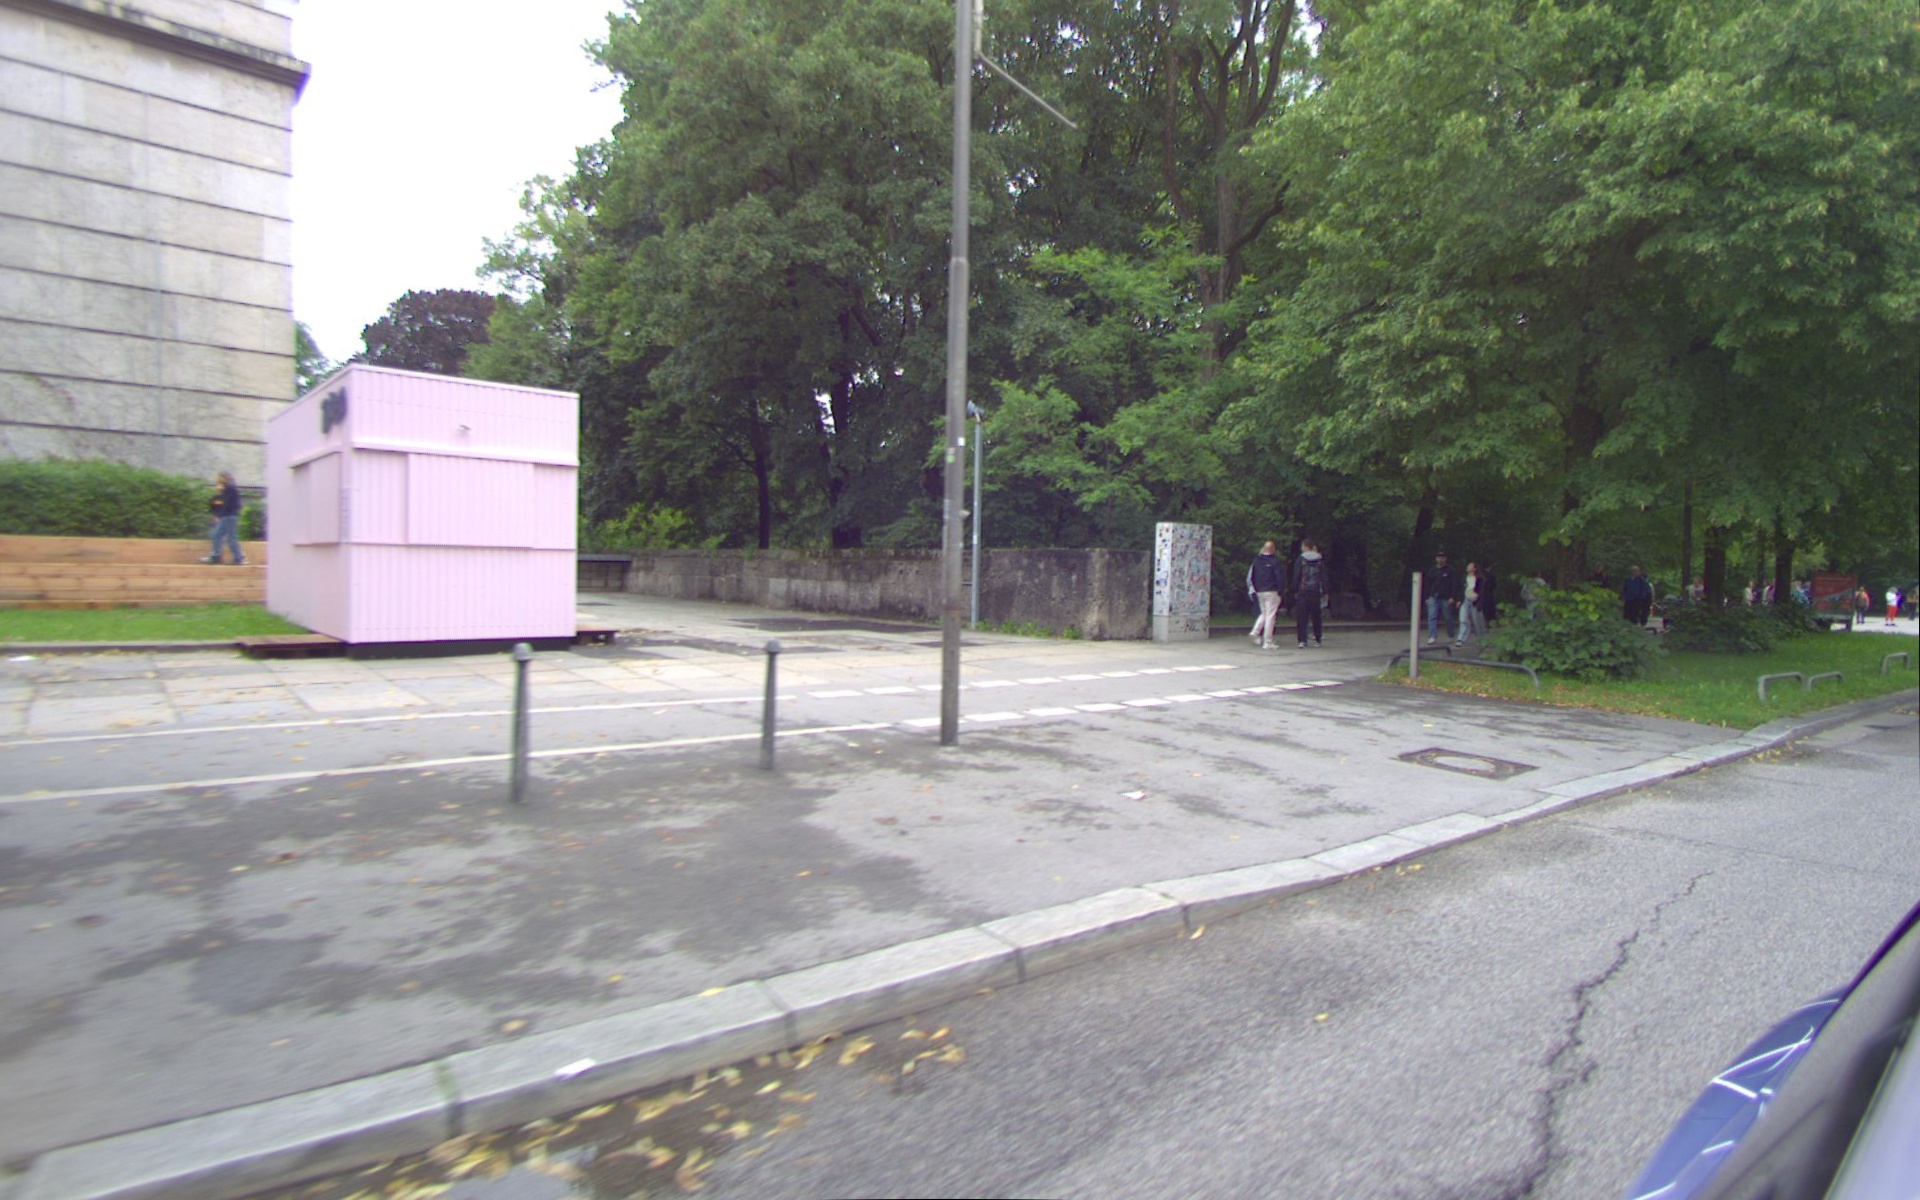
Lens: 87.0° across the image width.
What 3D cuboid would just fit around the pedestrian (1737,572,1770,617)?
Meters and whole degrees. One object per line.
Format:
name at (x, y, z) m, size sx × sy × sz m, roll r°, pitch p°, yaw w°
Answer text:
pedestrian at (29.620, -0.223, 37.783) m, size 0.676 × 1.664 × 0.758 m, roll 0°, pitch 0°, yaw -26°

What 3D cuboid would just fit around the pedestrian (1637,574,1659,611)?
pedestrian at (32.242, -0.349, 47.456) m, size 0.683 × 1.717 × 0.609 m, roll 0°, pitch 0°, yaw 14°

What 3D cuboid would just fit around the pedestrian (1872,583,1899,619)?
pedestrian at (41.800, 0.038, 45.696) m, size 0.683 × 1.597 × 0.609 m, roll 0°, pitch 0°, yaw 14°

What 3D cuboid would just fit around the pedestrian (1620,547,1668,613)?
pedestrian at (18.601, -0.547, 27.528) m, size 0.832 × 1.759 × 0.758 m, roll 0°, pitch 0°, yaw -26°

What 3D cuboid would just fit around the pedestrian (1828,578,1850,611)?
pedestrian at (48.982, -0.333, 56.393) m, size 0.715 × 1.813 × 0.814 m, roll 0°, pitch 0°, yaw -38°

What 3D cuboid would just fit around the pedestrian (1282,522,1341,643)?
pedestrian at (6.113, -0.310, 17.597) m, size 0.712 × 2.038 × 0.595 m, roll 0°, pitch 4°, yaw -40°

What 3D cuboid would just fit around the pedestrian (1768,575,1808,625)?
pedestrian at (28.077, -0.013, 34.330) m, size 0.832 × 1.664 × 0.758 m, roll 0°, pitch 0°, yaw -26°

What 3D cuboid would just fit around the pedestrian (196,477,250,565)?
pedestrian at (-13.141, -1.397, 18.051) m, size 0.757 × 1.513 × 0.488 m, roll 0°, pitch 0°, yaw -41°

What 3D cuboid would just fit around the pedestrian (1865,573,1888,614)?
pedestrian at (44.065, -0.314, 48.670) m, size 0.678 × 1.938 × 0.612 m, roll 0°, pitch 0°, yaw -24°

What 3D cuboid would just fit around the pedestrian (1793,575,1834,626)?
pedestrian at (28.310, -0.002, 33.580) m, size 0.832 × 1.664 × 0.758 m, roll 0°, pitch 0°, yaw -26°

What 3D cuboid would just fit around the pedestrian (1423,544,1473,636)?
pedestrian at (9.737, -0.199, 20.179) m, size 0.782 × 1.785 × 0.609 m, roll 0°, pitch 0°, yaw -37°

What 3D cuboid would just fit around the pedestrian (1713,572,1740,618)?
pedestrian at (31.736, -0.211, 41.891) m, size 0.683 × 1.896 × 0.609 m, roll 0°, pitch 0°, yaw 14°

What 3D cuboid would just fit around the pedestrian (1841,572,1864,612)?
pedestrian at (43.188, -0.400, 48.954) m, size 0.678 × 1.896 × 0.612 m, roll 0°, pitch 0°, yaw -24°

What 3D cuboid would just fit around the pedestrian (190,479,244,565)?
pedestrian at (-13.556, -1.404, 18.465) m, size 0.757 × 1.513 × 0.488 m, roll 0°, pitch 0°, yaw -41°

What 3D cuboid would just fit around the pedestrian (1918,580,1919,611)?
pedestrian at (52.828, -0.232, 55.227) m, size 0.636 × 1.712 × 0.728 m, roll 0°, pitch 0°, yaw -36°

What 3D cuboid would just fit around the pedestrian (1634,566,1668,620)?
pedestrian at (21.363, -0.224, 31.296) m, size 0.591 × 1.657 × 0.682 m, roll 0°, pitch 2°, yaw -40°

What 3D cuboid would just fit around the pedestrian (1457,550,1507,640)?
pedestrian at (10.136, -0.104, 19.662) m, size 0.740 × 1.702 × 0.609 m, roll 0°, pitch 0°, yaw -37°

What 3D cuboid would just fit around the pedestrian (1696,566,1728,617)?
pedestrian at (23.125, -0.261, 31.139) m, size 0.552 × 1.534 × 0.682 m, roll 0°, pitch 0°, yaw -40°

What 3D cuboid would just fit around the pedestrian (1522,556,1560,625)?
pedestrian at (15.301, -0.255, 26.664) m, size 0.767 × 1.796 × 0.632 m, roll 0°, pitch 0°, yaw -37°

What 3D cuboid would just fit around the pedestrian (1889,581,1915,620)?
pedestrian at (41.788, 0.034, 44.877) m, size 0.636 × 1.712 × 0.728 m, roll 0°, pitch 0°, yaw -36°

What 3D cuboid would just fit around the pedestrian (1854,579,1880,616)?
pedestrian at (41.042, -0.130, 45.801) m, size 0.683 × 1.672 × 0.608 m, roll 0°, pitch 0°, yaw 16°

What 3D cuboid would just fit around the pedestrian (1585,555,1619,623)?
pedestrian at (17.787, -0.302, 28.036) m, size 0.835 × 1.845 × 0.589 m, roll 0°, pitch 0°, yaw -40°

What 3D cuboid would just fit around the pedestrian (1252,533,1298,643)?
pedestrian at (5.459, -0.227, 17.521) m, size 0.590 × 1.830 × 0.718 m, roll 4°, pitch 3°, yaw 25°

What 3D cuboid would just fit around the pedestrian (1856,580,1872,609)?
pedestrian at (55.914, -0.354, 62.591) m, size 0.523 × 1.790 × 0.637 m, roll 0°, pitch 0°, yaw -38°

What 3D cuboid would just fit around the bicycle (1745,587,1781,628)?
bicycle at (21.059, 0.175, 26.528) m, size 2.043 × 1.034 × 0.385 m, roll 0°, pitch 1°, yaw -41°

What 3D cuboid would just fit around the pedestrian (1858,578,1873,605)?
pedestrian at (55.464, -0.496, 61.981) m, size 0.523 × 1.647 × 0.637 m, roll 0°, pitch 0°, yaw -38°

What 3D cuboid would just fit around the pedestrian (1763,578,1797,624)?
pedestrian at (30.027, 0.033, 37.053) m, size 0.637 × 1.664 × 0.758 m, roll 0°, pitch 0°, yaw -26°

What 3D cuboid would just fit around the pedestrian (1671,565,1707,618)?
pedestrian at (21.957, -0.254, 30.472) m, size 0.857 × 1.585 × 0.682 m, roll 0°, pitch 0°, yaw -40°

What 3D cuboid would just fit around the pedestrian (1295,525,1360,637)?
pedestrian at (6.951, -0.367, 19.149) m, size 0.763 × 2.037 × 0.765 m, roll 0°, pitch 4°, yaw -40°

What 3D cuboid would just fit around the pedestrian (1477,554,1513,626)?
pedestrian at (12.806, -0.239, 24.226) m, size 0.543 × 1.696 × 0.582 m, roll 0°, pitch 0°, yaw -37°

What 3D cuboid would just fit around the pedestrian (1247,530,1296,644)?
pedestrian at (5.173, -0.229, 16.794) m, size 0.590 × 1.830 × 0.718 m, roll 4°, pitch 3°, yaw 25°

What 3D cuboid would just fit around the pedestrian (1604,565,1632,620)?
pedestrian at (20.009, -0.233, 30.766) m, size 0.679 × 1.658 × 0.655 m, roll 0°, pitch 0°, yaw 38°
